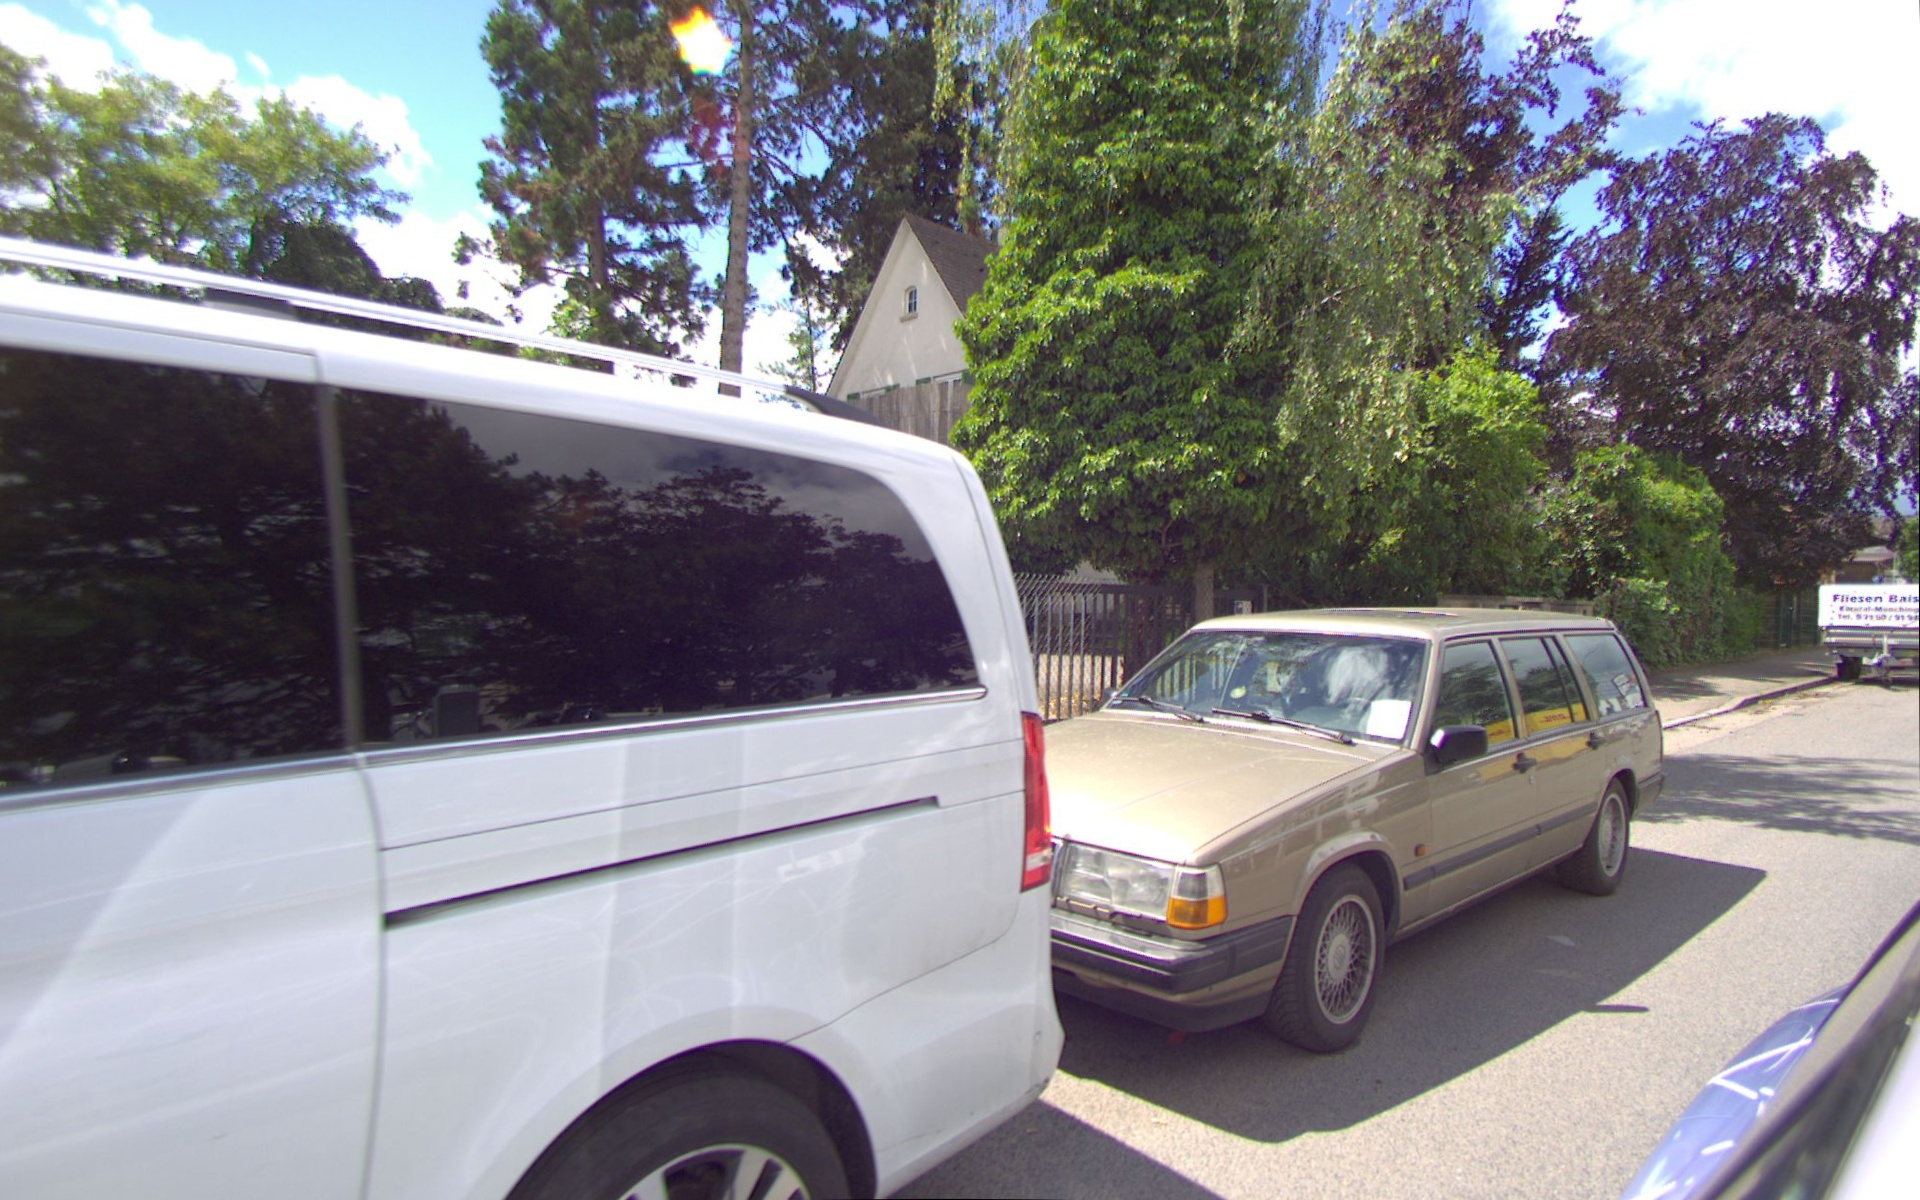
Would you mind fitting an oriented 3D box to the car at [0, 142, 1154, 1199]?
[{"bbox_3d":[-2.144,0.472,1.305,5.297,1.909,1.908,0,0,-42],"label":"car"}]

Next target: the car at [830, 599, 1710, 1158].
[{"bbox_3d":[1.908,0.735,4.940,4.906,1.469,1.758,0,0,-40],"label":"car"}]

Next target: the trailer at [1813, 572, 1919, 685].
[{"bbox_3d":[17.151,0.461,18.241,4.681,1.846,1.997,0,0,-41],"label":"trailer"}]

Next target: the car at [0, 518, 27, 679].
[{"bbox_3d":[-12.955,-0.122,10.432,4.724,1.774,1.822,2,0,-39],"label":"car"}]
